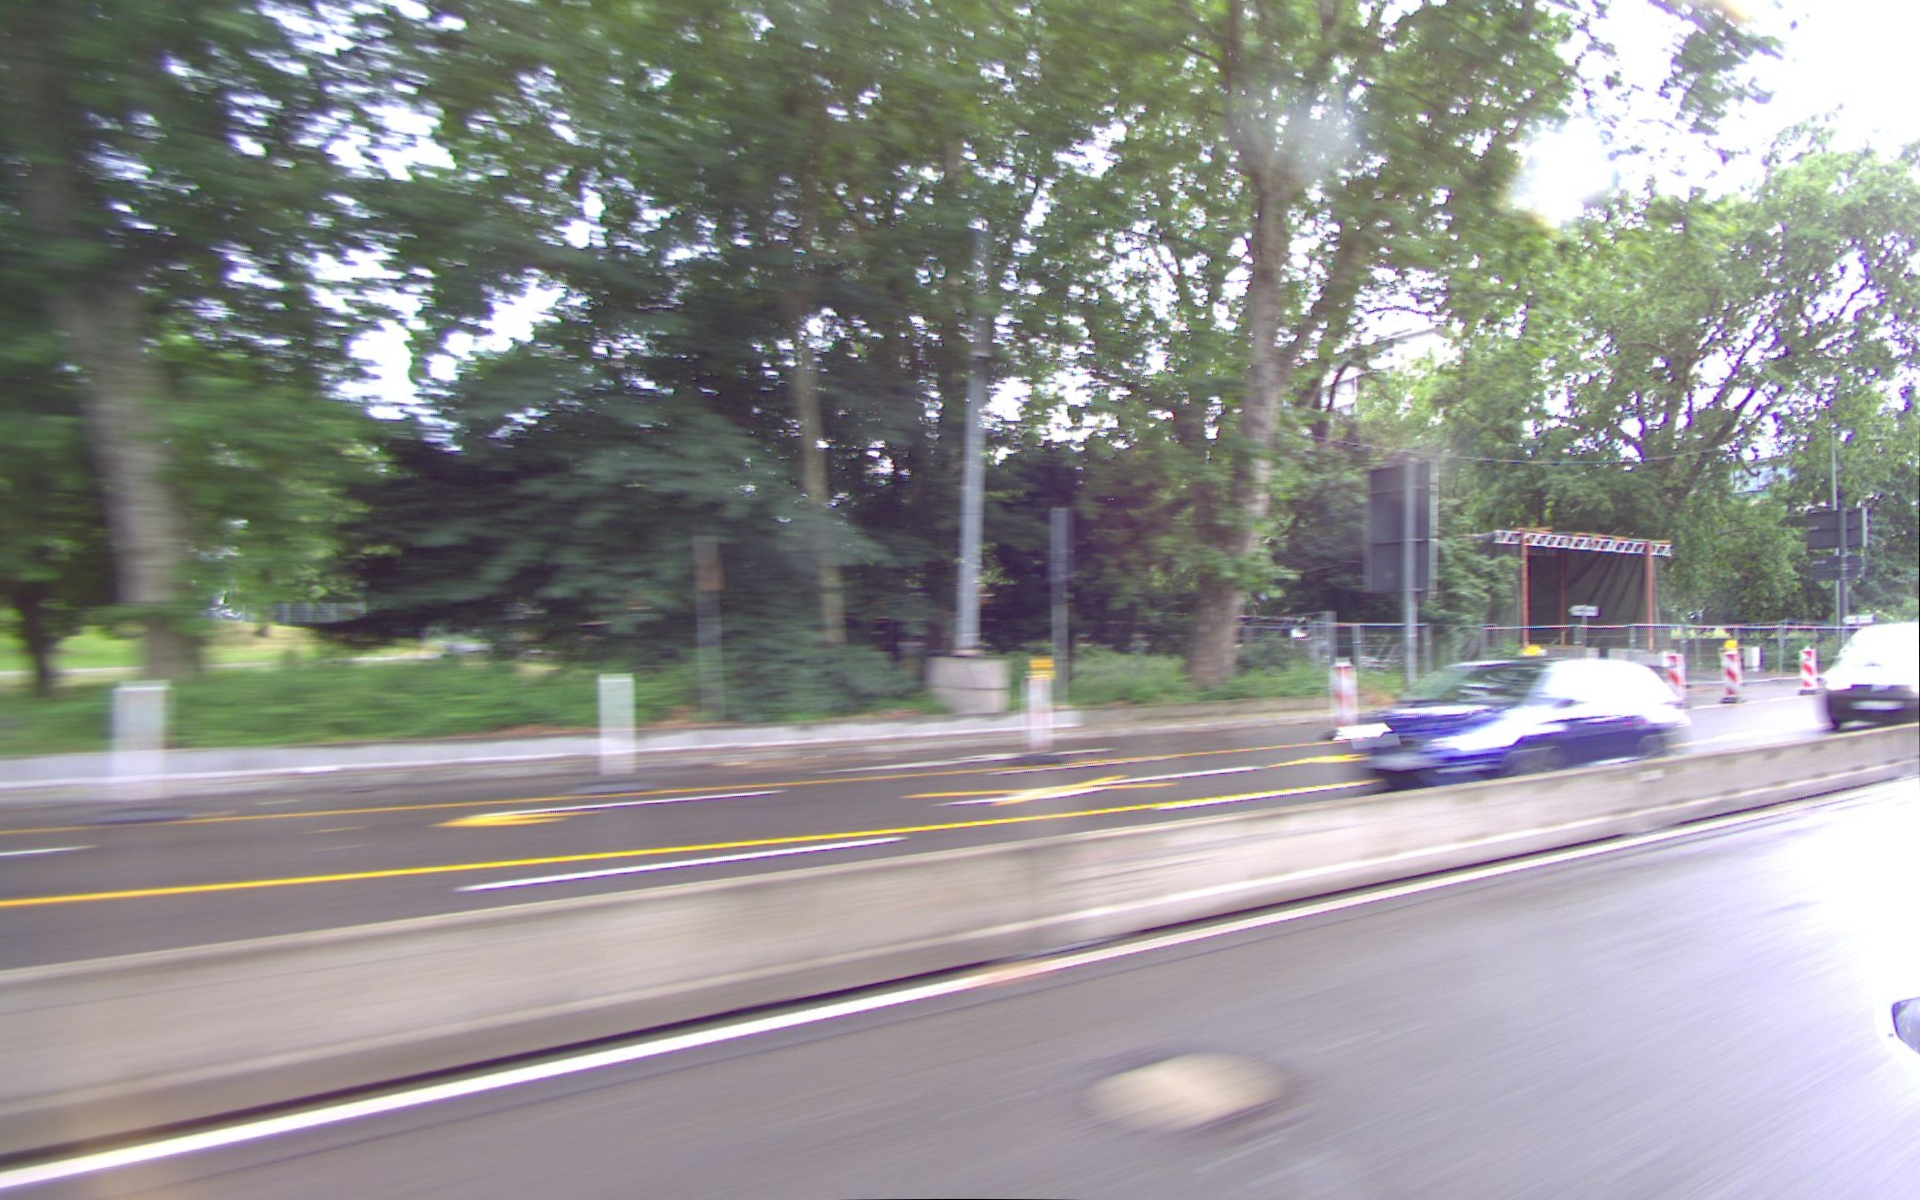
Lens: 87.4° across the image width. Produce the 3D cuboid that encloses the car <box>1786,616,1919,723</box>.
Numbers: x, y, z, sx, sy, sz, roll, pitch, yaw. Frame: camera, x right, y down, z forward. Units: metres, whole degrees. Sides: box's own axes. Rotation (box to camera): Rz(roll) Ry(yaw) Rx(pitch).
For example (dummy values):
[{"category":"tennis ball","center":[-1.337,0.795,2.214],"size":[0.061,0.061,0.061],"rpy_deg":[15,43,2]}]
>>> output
[{"category":"car","center":[16.816,1.219,17.759],"size":[4.859,1.674,2.020],"rpy_deg":[2,-5,-33]}]

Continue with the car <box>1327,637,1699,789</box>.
[{"category":"car","center":[5.985,1.133,10.783],"size":[4.016,1.356,1.704],"rpy_deg":[2,-5,-31]}]
